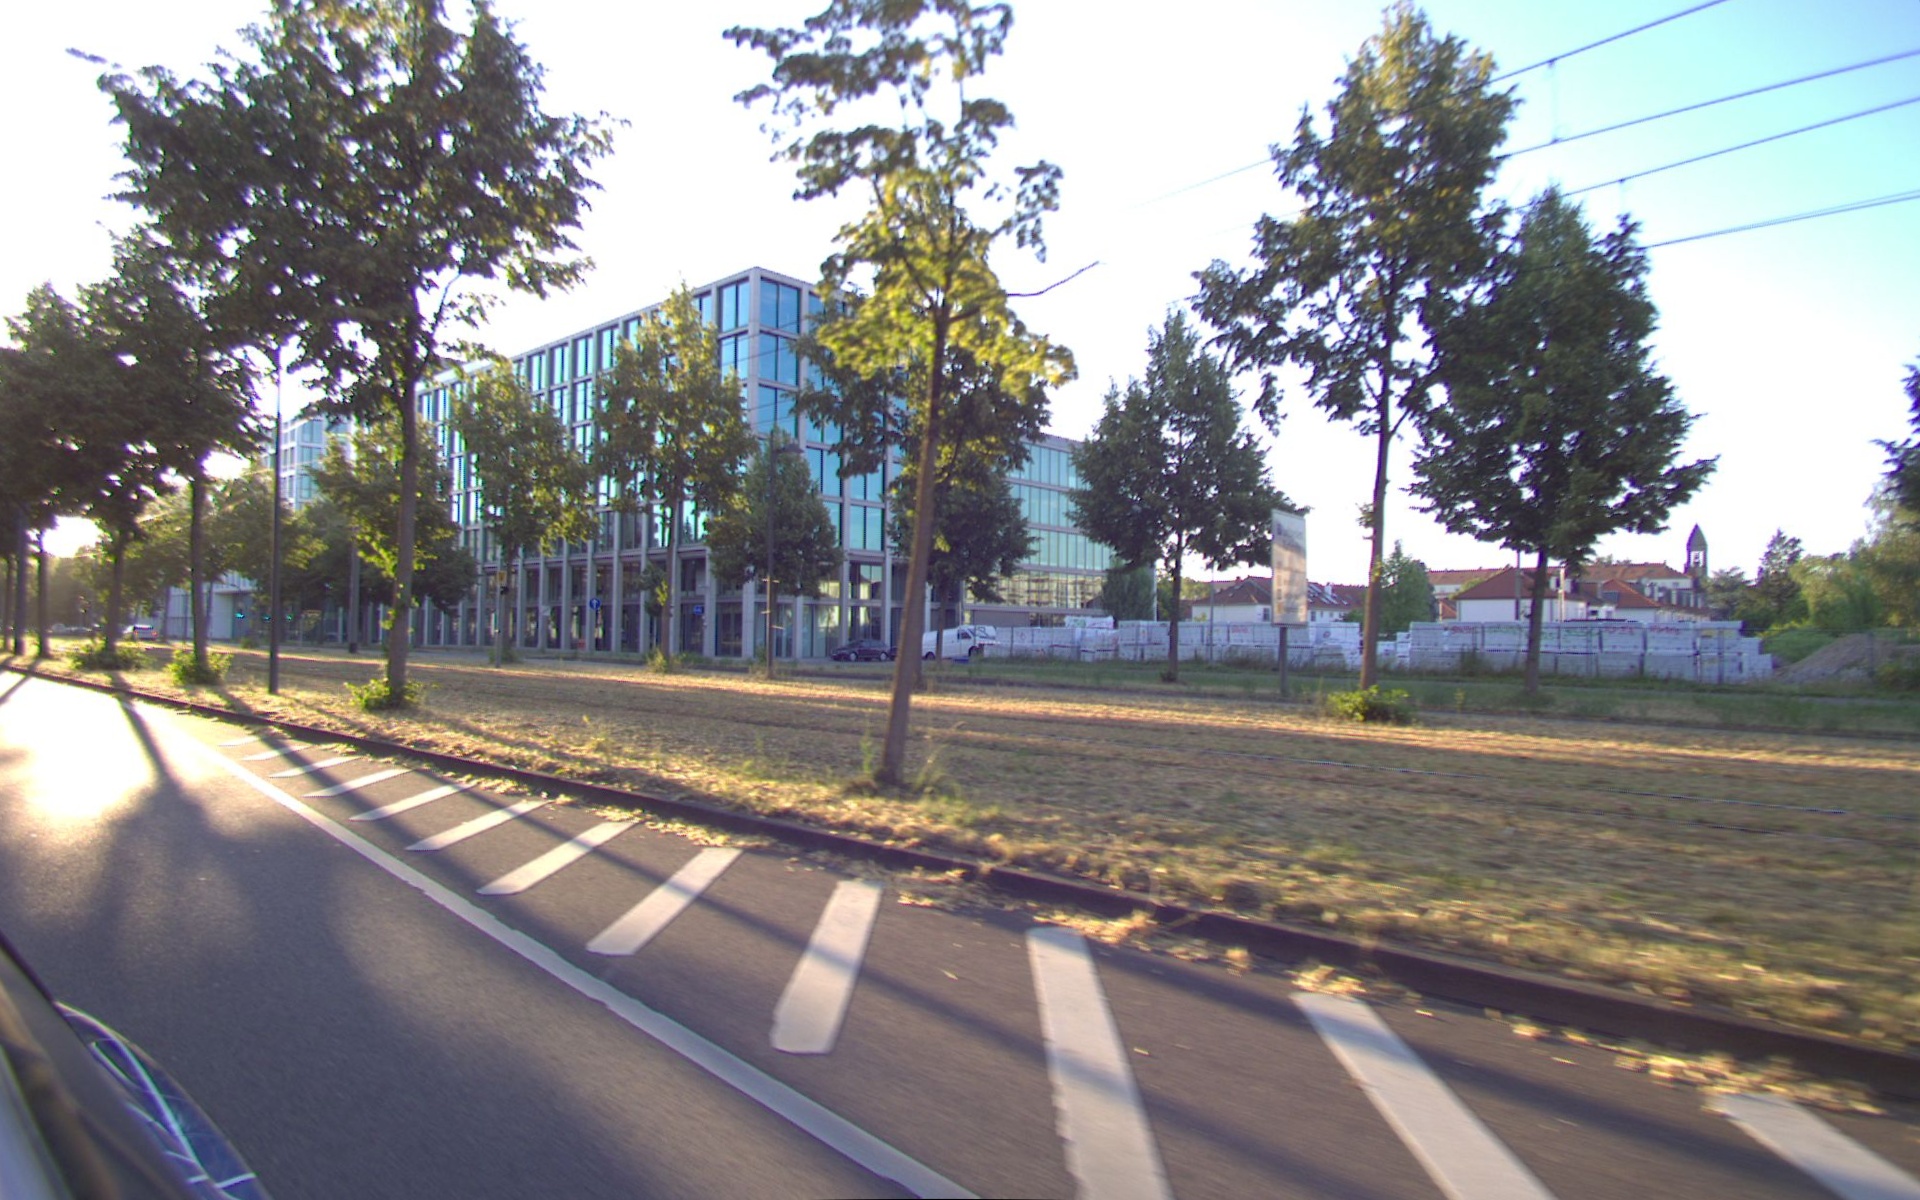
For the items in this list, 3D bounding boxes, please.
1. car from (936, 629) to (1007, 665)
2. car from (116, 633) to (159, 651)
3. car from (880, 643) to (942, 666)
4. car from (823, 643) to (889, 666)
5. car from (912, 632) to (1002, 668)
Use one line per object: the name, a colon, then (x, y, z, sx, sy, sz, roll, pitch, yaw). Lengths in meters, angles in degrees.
car: (0.868, 3.409, 73.163, 1.974, 2.486, 5.419, -2, -3, 44)
car: (-69.156, 3.501, 85.058, 4.625, 1.497, 1.884, -2, -3, 39)
car: (-3.315, 3.707, 68.972, 1.895, 1.457, 3.942, -2, -3, 44)
car: (-6.711, 3.501, 65.551, 1.894, 1.457, 3.943, -2, -3, 43)
car: (-0.206, 2.874, 58.769, 5.081, 2.029, 2.183, -2, -3, 41)
